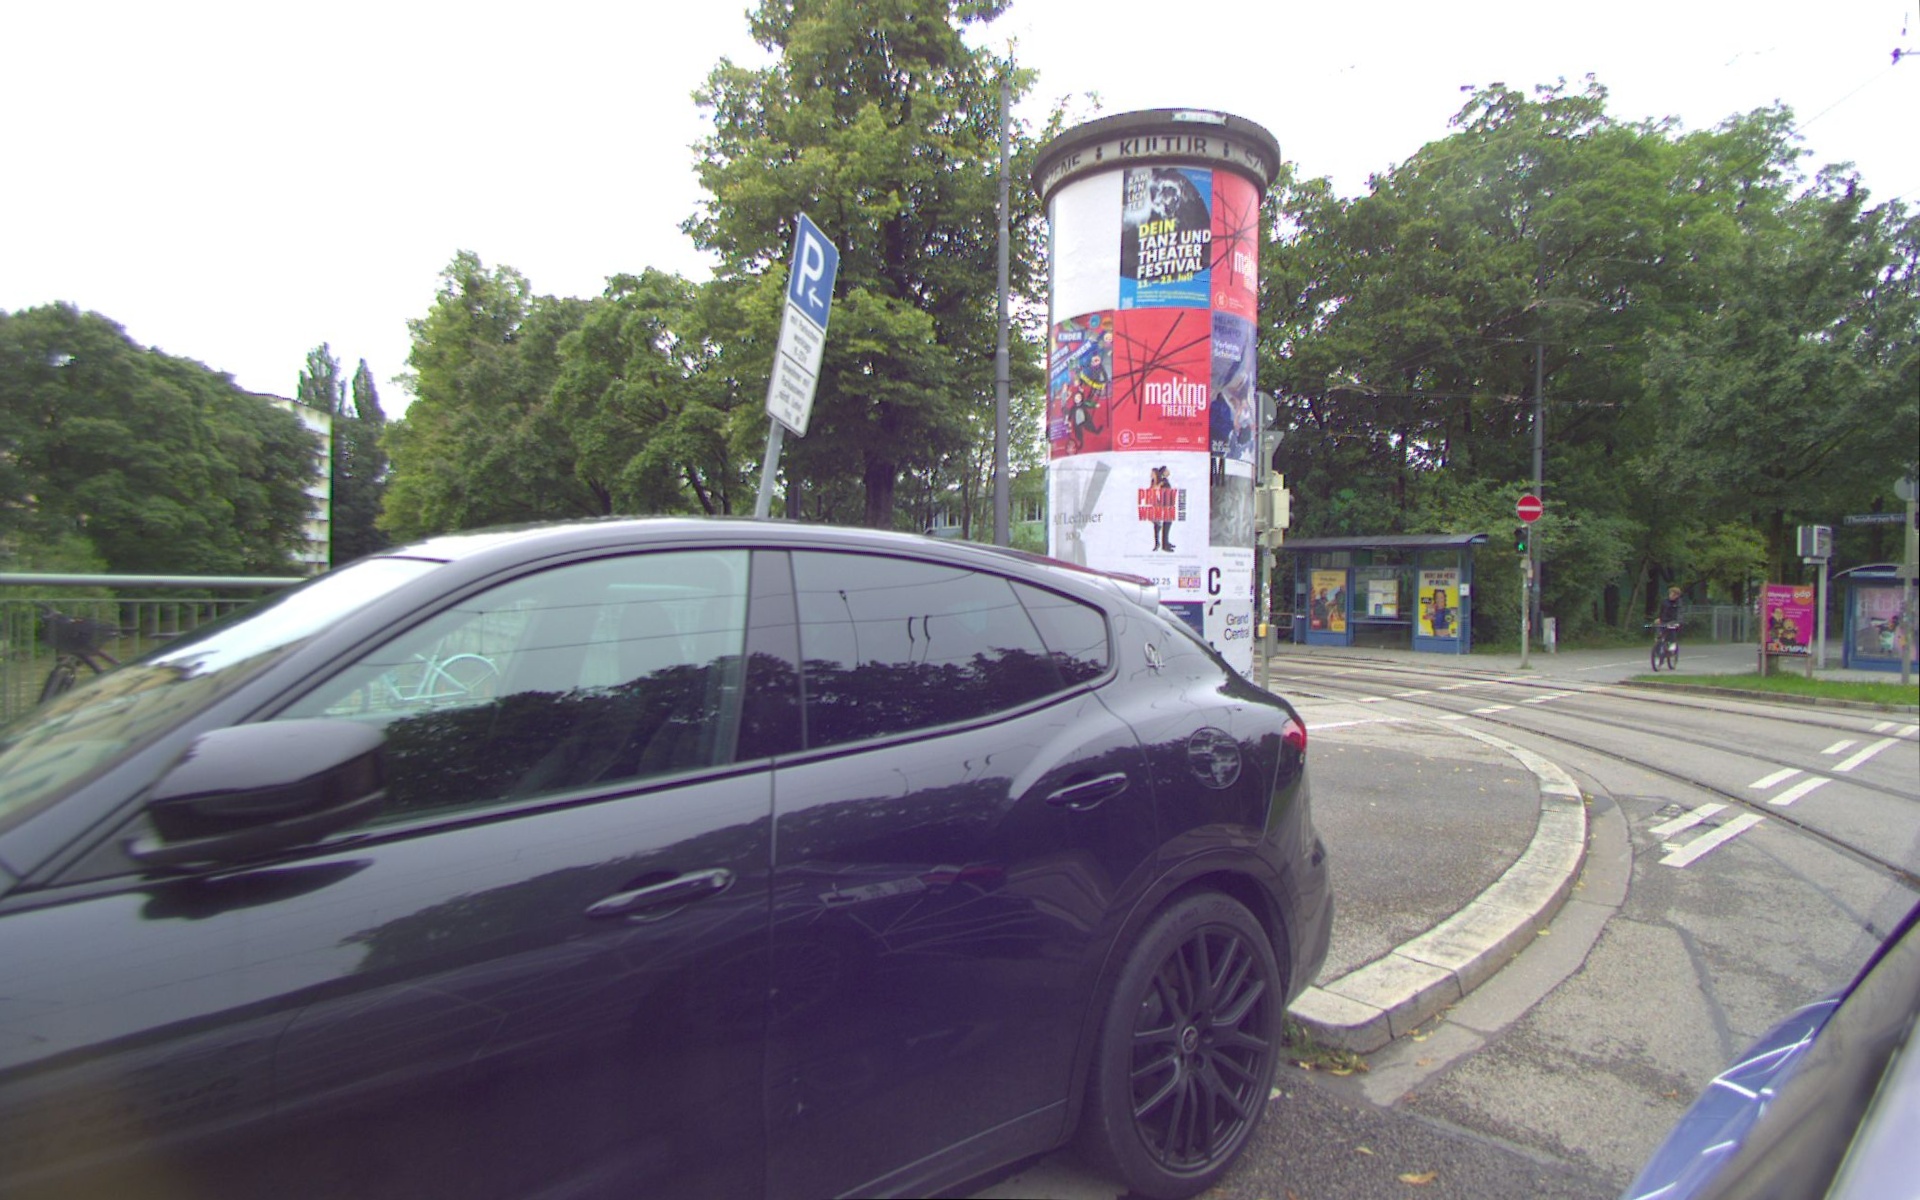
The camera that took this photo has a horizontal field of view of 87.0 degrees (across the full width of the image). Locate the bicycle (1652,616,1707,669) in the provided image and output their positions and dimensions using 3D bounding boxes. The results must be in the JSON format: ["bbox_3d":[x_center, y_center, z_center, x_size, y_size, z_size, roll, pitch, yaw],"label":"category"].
[{"bbox_3d":[16.068,0.927,22.597,1.879,1.092,0.579,0,-1,-42],"label":"bicycle"}]

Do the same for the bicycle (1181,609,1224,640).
[{"bbox_3d":[7.952,0.804,33.230,0.366,0.964,1.484,0,1,-37],"label":"bicycle"}]

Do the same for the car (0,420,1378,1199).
[{"bbox_3d":[-1.146,0.629,2.256,4.581,1.630,1.905,1,-1,-39],"label":"car"}]

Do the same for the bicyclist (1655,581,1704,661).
[{"bbox_3d":[16.094,0.454,22.636,0.714,1.751,0.725,0,-1,-42],"label":"bicyclist"}]

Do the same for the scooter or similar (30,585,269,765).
[{"bbox_3d":[-6.237,0.529,7.877,0.242,1.279,1.481,-1,-1,28],"label":"scooter or similar"}]

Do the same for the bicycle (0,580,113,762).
[{"bbox_3d":[-6.979,0.508,7.245,0.280,1.298,1.395,-1,-1,31],"label":"bicycle"}]

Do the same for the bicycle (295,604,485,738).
[{"bbox_3d":[-5.068,0.591,9.086,0.263,1.096,1.523,-1,-1,35],"label":"bicycle"}]

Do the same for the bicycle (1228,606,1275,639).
[{"bbox_3d":[9.071,0.694,31.534,0.366,0.964,1.484,0,1,-37],"label":"bicycle"}]
